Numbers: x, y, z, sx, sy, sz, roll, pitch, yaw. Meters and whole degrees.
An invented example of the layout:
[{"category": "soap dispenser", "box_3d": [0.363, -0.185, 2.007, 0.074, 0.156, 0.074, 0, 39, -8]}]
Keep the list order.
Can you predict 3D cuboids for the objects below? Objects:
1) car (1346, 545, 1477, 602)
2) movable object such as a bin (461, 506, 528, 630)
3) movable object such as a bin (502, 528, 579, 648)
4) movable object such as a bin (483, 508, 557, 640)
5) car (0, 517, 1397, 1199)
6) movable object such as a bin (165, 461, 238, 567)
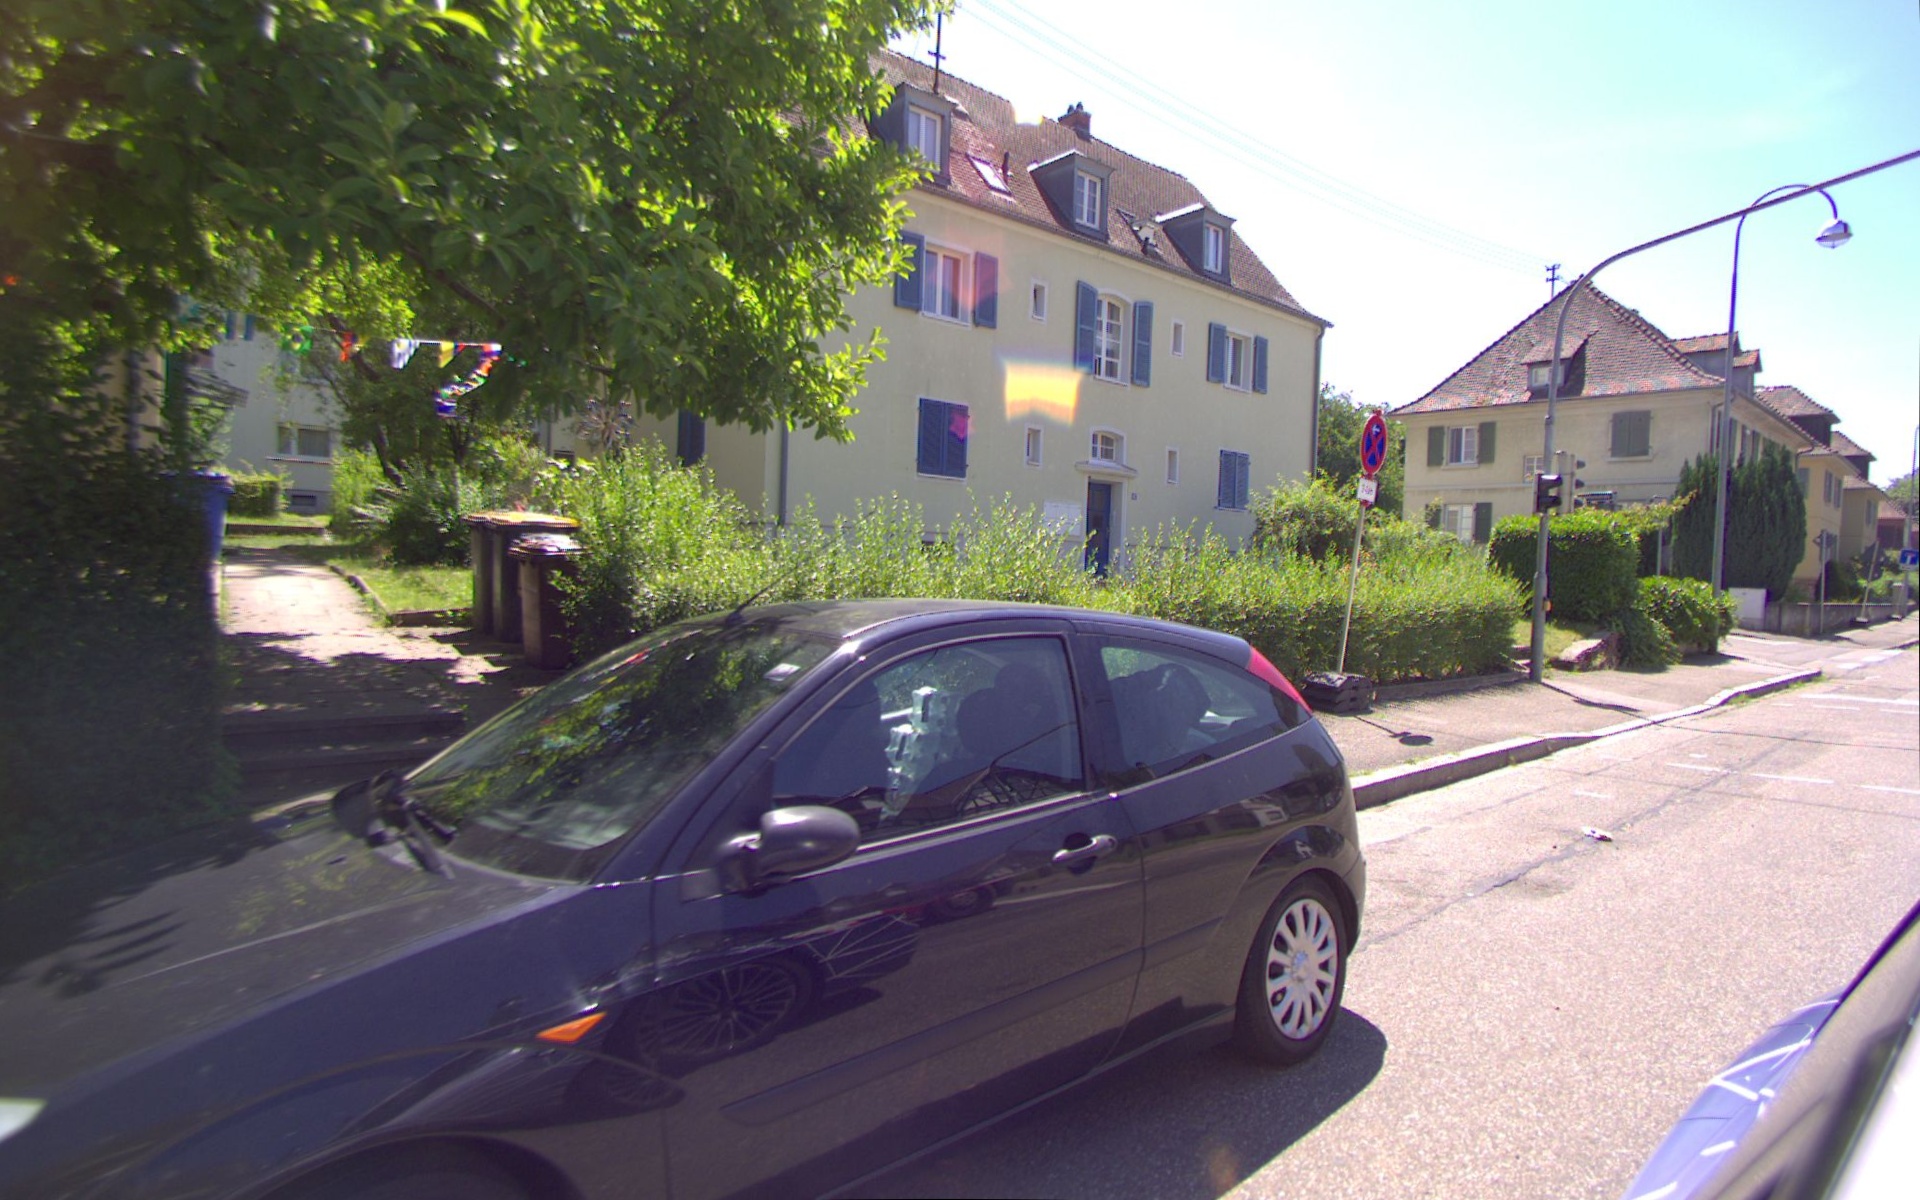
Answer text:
[{"category": "car", "box_3d": [14.893, -0.895, 33.520, 1.583, 1.469, 3.517, 0, 7, -37]}, {"category": "movable object such as a bin", "box_3d": [-4.122, -0.284, 8.959, 0.433, 1.054, 0.377, 0, 5, -40]}, {"category": "movable object such as a bin", "box_3d": [-3.374, -0.108, 8.137, 0.439, 0.912, 0.439, 0, 5, -40]}, {"category": "movable object such as a bin", "box_3d": [-3.700, -0.226, 8.508, 0.439, 1.054, 0.439, 0, 5, -40]}, {"category": "car", "box_3d": [-0.567, 0.638, 2.723, 3.946, 1.482, 1.631, -1, 0, -41]}, {"category": "movable object such as a bin", "box_3d": [-8.884, -0.985, 11.869, 0.669, 1.178, 0.631, 0, 1, -37]}]
